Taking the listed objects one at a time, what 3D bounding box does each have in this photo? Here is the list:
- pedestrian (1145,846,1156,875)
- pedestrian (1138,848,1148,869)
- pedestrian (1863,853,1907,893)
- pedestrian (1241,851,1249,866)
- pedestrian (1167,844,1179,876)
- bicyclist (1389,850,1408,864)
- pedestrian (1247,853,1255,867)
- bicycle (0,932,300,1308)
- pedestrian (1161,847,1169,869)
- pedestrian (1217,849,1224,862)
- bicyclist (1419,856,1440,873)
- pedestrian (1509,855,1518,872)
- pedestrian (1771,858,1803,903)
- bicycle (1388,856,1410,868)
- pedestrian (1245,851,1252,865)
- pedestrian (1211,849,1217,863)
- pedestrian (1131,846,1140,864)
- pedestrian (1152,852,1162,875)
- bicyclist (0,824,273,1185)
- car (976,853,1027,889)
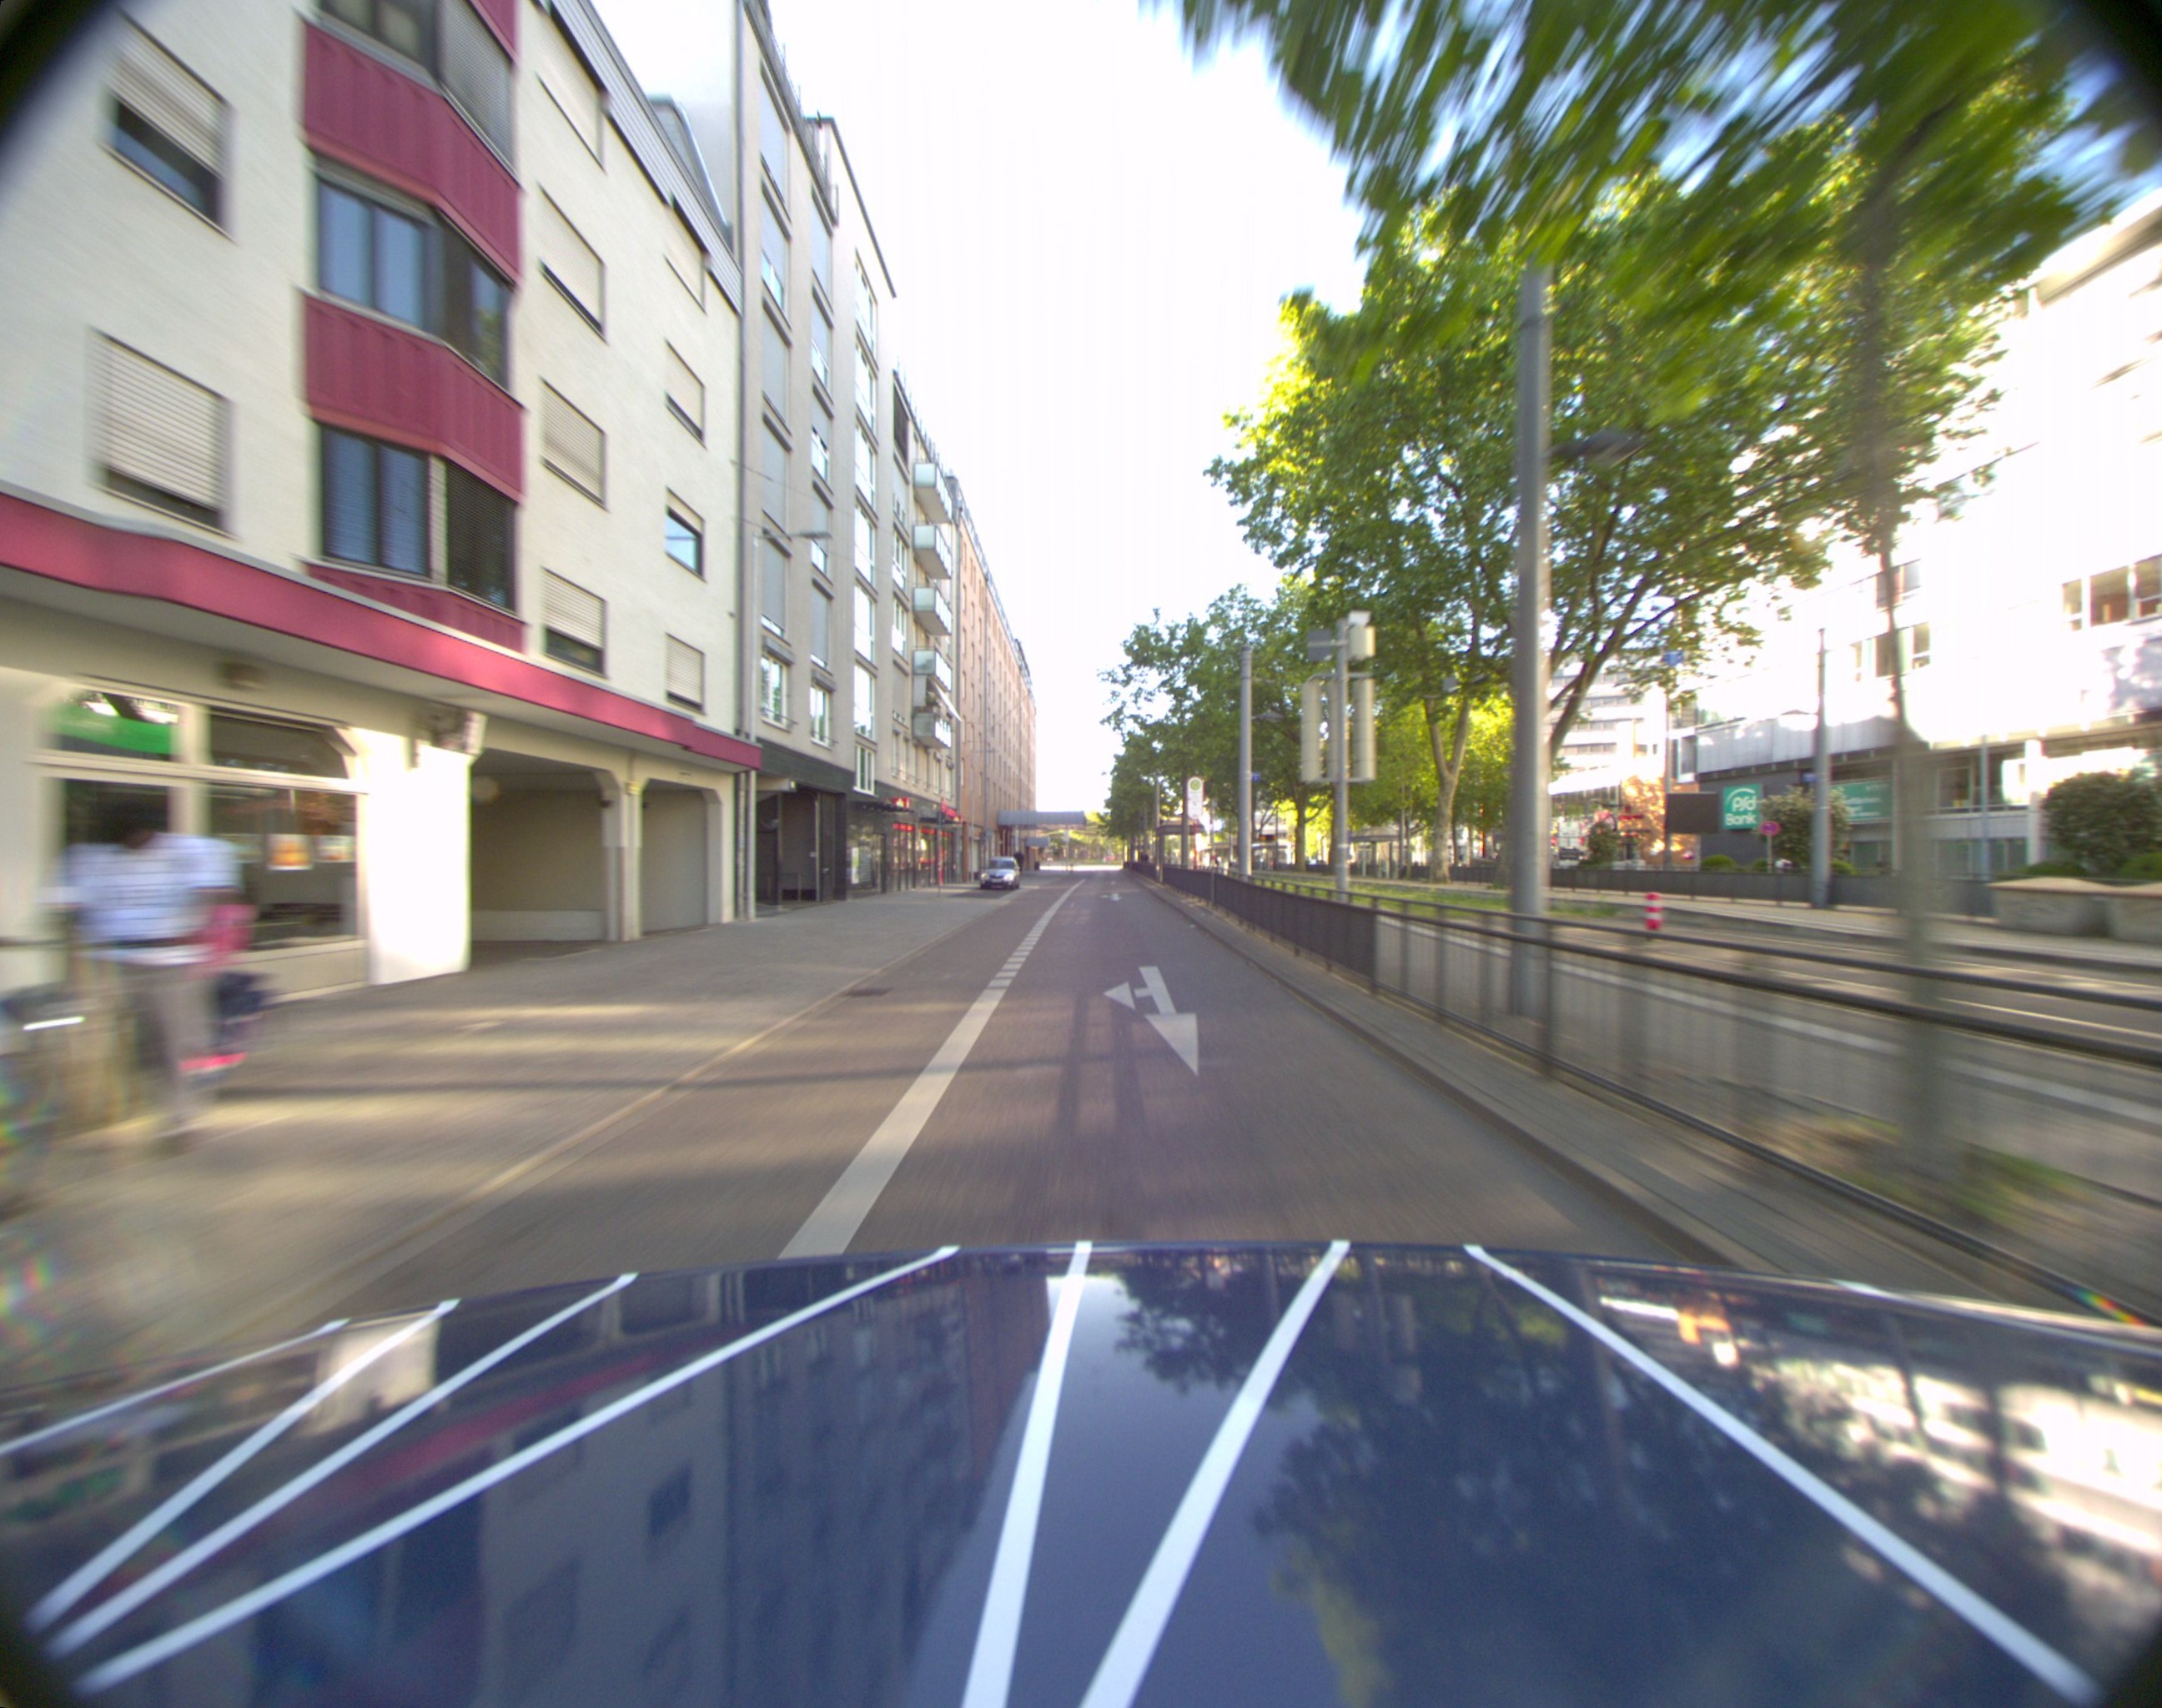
[{"bbox_3d":[4.483,0.433,48.875,0.647,1.876,0.661,0,0,2],"label":"pedestrian"},{"bbox_3d":[5.529,0.396,67.715,0.708,1.791,0.826,0,0,-5],"label":"pedestrian"},{"bbox_3d":[31.861,0.742,30.105,0.908,1.583,0.767,0,0,1],"label":"pedestrian"},{"bbox_3d":[17.817,0.514,82.515,0.669,1.632,0.669,0,1,-10],"label":"pedestrian"},{"bbox_3d":[5.447,0.354,44.932,0.647,1.860,0.753,-1,0,2],"label":"pedestrian"},{"bbox_3d":[27.536,0.271,65.898,1.007,1.242,1.374,-2,0,-1],"label":"bicyclist"},{"bbox_3d":[17.822,0.639,79.589,0.571,1.477,0.607,0,0,-10],"label":"pedestrian"},{"bbox_3d":[-4.926,1.116,3.811,0.965,1.176,2.591,0,0,-36],"label":"bicycle"},{"bbox_3d":[7.091,0.358,64.171,0.648,1.828,0.638,0,0,1],"label":"pedestrian"},{"bbox_3d":[17.526,0.174,95.731,0.686,1.686,0.699,0,0,-7],"label":"pedestrian"},{"bbox_3d":[27.077,0.802,59.005,1.006,1.242,1.374,-2,0,2],"label":"bicyclist"},{"bbox_3d":[41.475,0.879,72.815,0.579,1.595,0.580,0,0,7],"label":"pedestrian"},{"bbox_3d":[31.352,1.184,33.745,0.607,1.964,0.834,-2,0,-1],"label":"pedestrian"},{"bbox_3d":[27.552,0.659,65.831,0.802,0.991,2.585,-2,0,-1],"label":"bicycle"},{"bbox_3d":[17.712,0.401,80.182,0.554,1.488,0.550,0,0,-10],"label":"pedestrian"},{"bbox_3d":[16.762,0.259,95.814,0.656,1.744,0.676,0,0,-7],"label":"pedestrian"},{"bbox_3d":[5.291,0.125,74.041,0.742,1.680,0.645,-2,1,0],"label":"pedestrian"},{"bbox_3d":[5.580,0.690,55.734,0.731,1.692,0.863,-1,0,4],"label":"pedestrian"},{"bbox_3d":[-4.846,0.638,3.692,1.062,1.531,1.076,0,1,-36],"label":"bicyclist"},{"bbox_3d":[-3.816,0.779,37.298,1.837,1.613,4.285,3,0,2],"label":"car"}]
